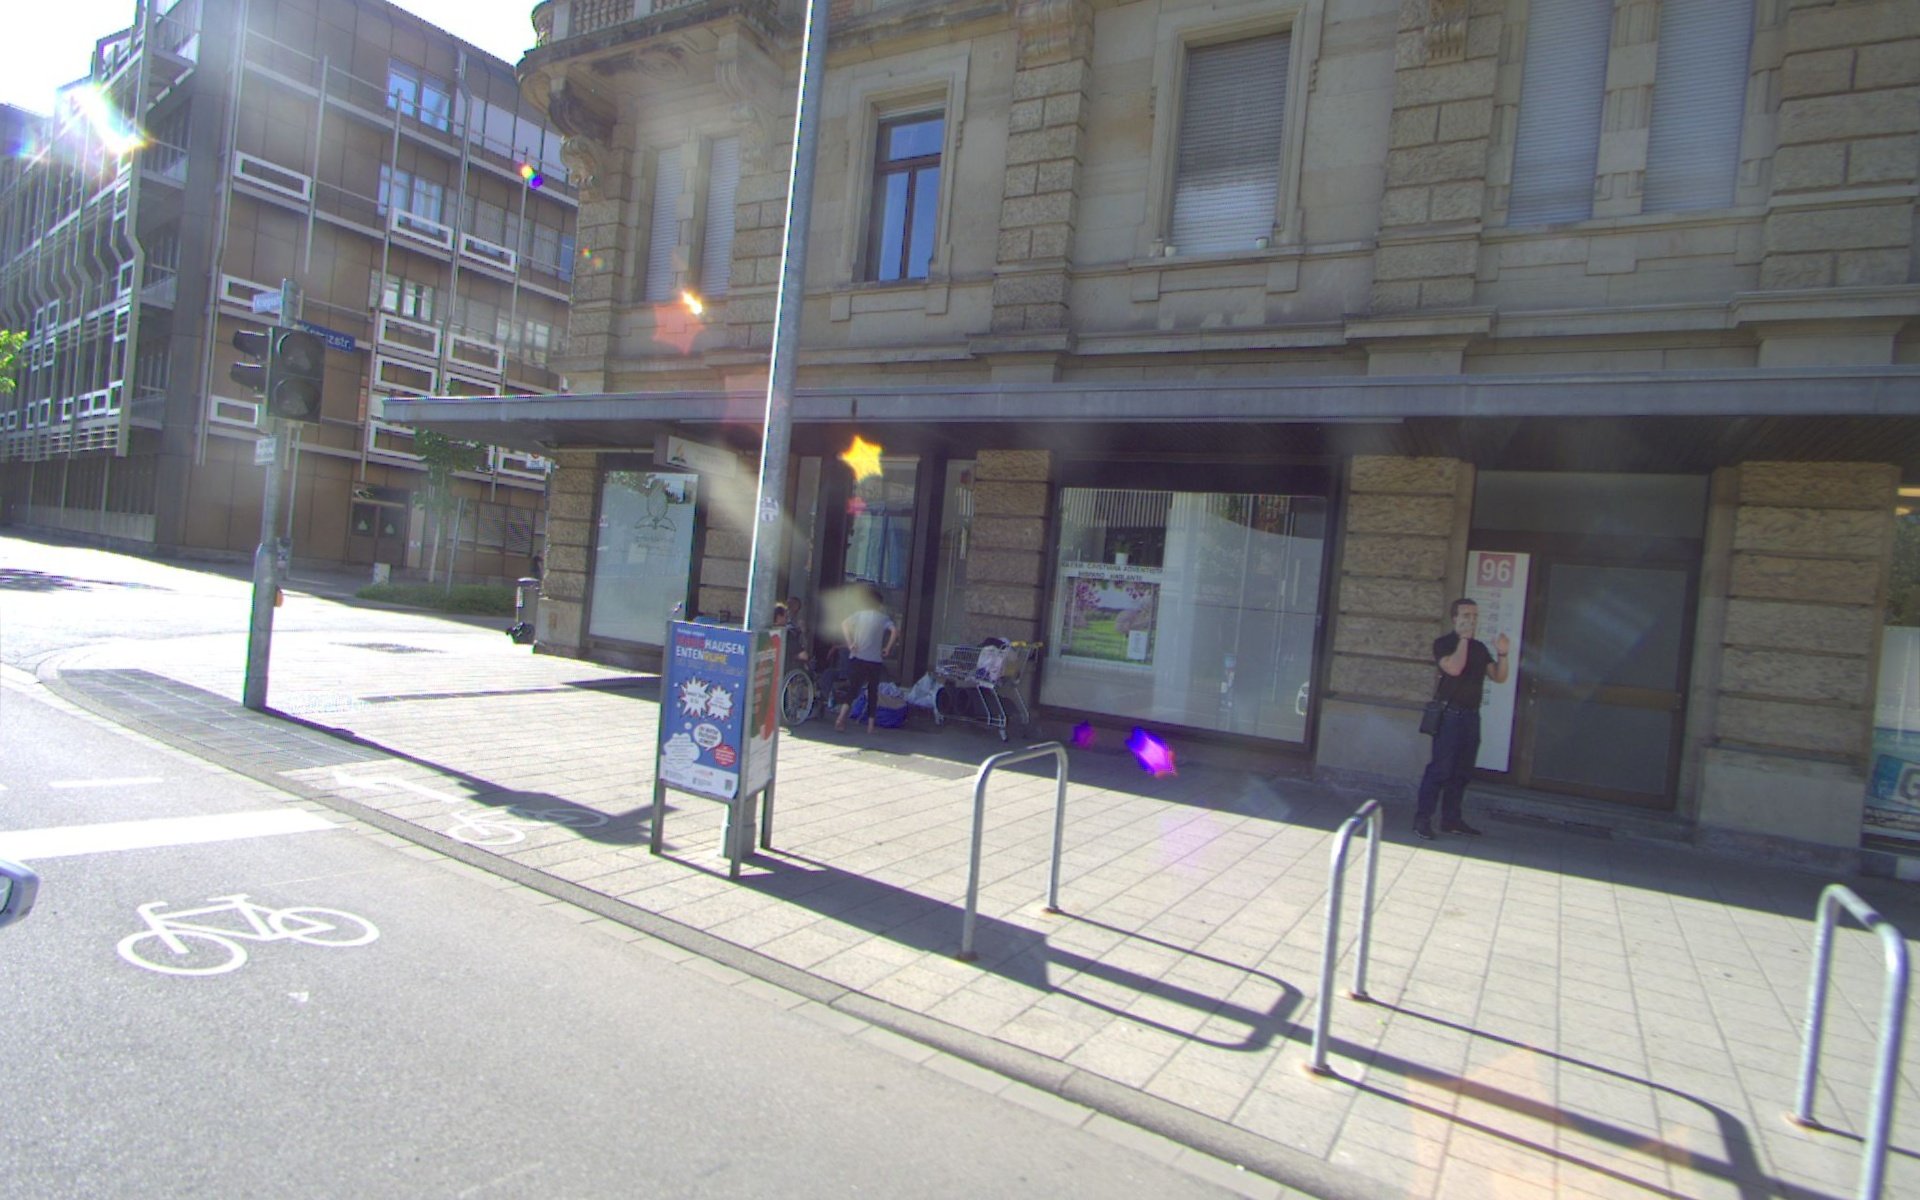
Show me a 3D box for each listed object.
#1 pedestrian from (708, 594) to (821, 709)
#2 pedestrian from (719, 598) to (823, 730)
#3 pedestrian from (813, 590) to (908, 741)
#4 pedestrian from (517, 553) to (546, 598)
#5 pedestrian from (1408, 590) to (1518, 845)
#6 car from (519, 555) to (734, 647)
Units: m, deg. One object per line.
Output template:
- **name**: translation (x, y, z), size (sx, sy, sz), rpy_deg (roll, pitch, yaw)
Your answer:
- **pedestrian**: translation (-2.279, 0.589, 11.781), size (0.691, 1.234, 1.072), rpy_deg (5, 2, 30)
- **pedestrian**: translation (-1.913, 0.630, 10.192), size (0.637, 1.234, 0.716), rpy_deg (6, 2, 36)
- **pedestrian**: translation (-0.994, 0.639, 10.083), size (0.637, 1.413, 0.573), rpy_deg (5, 2, 29)
- **pedestrian**: translation (-17.885, -1.027, 42.011), size (0.762, 1.805, 0.639), rpy_deg (6, 1, 32)
- **pedestrian**: translation (3.829, 0.872, 7.655), size (0.493, 1.823, 0.510), rpy_deg (6, 0, 38)
- **car**: translation (-6.984, 0.098, 21.609), size (1.820, 1.562, 4.407), rpy_deg (6, -1, 23)
